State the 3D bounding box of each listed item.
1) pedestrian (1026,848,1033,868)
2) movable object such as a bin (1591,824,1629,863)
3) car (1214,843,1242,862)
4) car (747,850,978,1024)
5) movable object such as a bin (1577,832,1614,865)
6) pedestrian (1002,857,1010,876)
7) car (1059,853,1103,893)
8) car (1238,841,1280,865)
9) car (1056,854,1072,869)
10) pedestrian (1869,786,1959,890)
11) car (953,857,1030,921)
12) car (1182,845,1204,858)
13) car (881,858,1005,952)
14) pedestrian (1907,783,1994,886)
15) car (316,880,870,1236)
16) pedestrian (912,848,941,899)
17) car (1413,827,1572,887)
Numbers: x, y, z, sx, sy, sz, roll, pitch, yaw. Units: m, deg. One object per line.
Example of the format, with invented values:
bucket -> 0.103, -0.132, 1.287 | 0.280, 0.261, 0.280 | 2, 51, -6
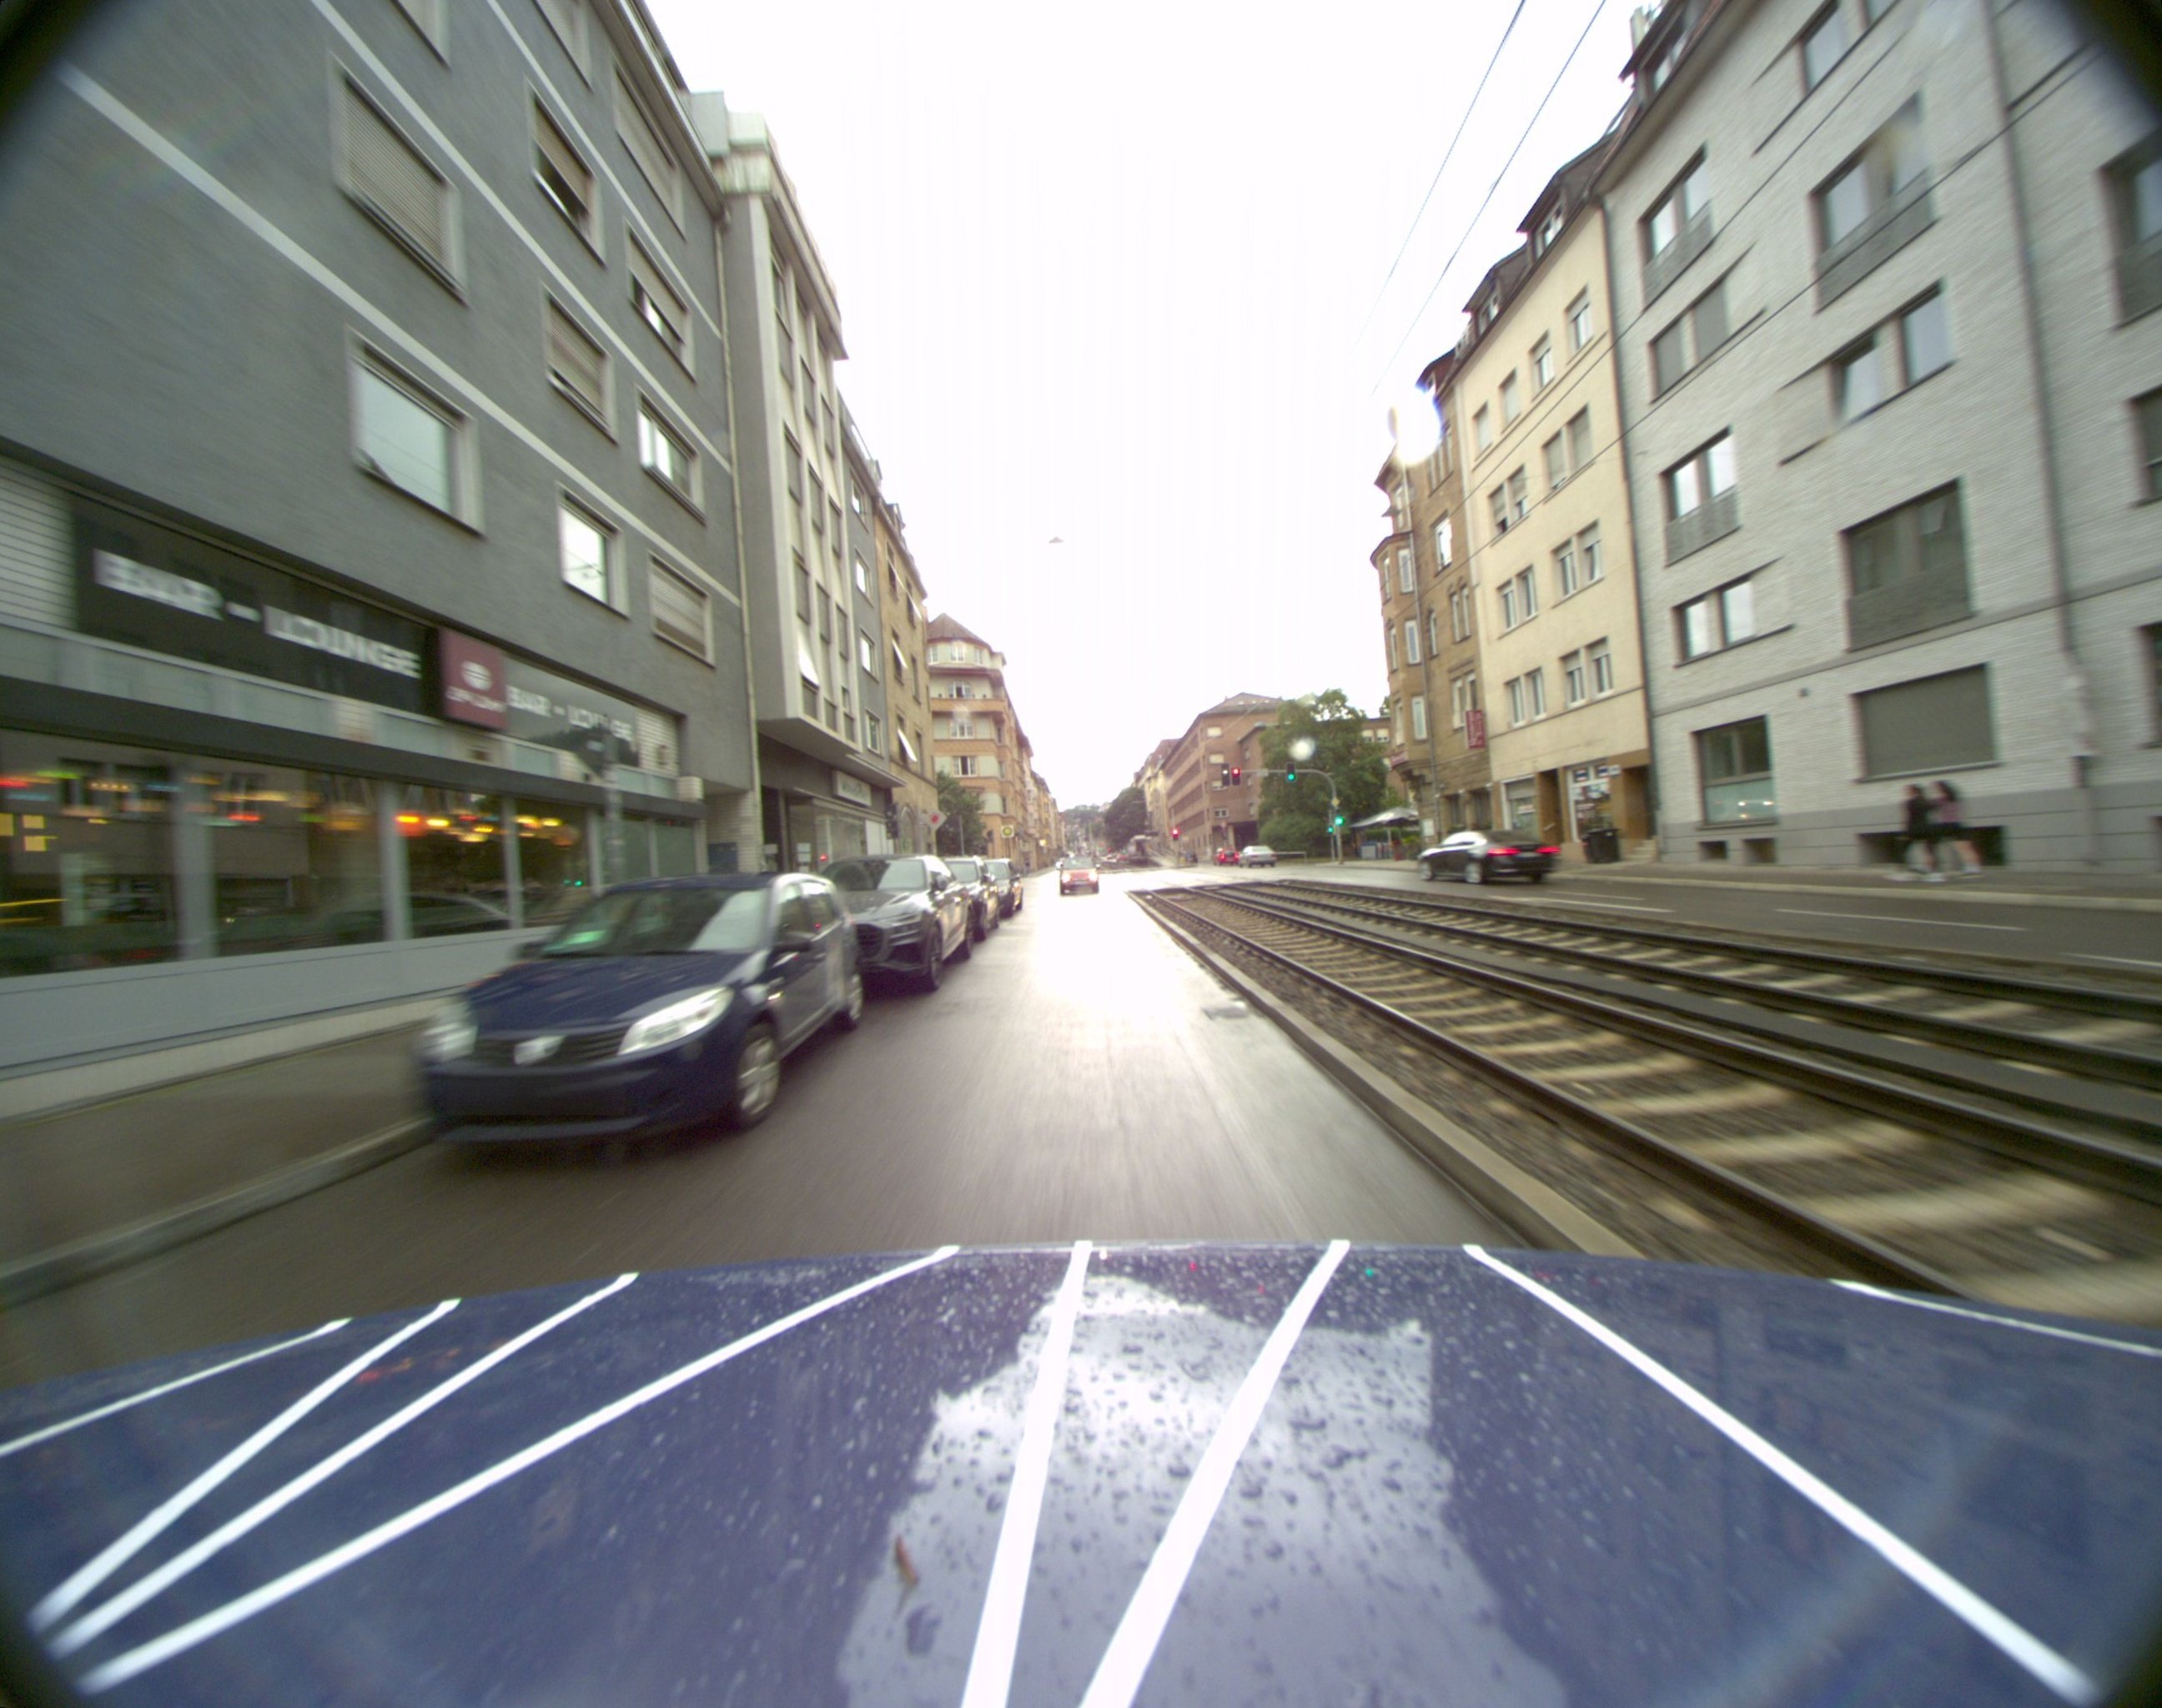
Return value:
pedestrian -> -4.451, 0.352, 65.685 | 0.437, 1.642, 0.579 | -3, 1, -1
movable object such as a bin -> 15.803, -0.315, 22.701 | 0.631, 1.074, 0.563 | -8, 1, 0
car -> 12.225, -0.113, 63.410 | 1.631, 1.442, 3.387 | -3, 0, 0
car -> -2.633, 0.875, 10.387 | 1.797, 1.750, 4.565 | -3, 0, -1
movable object such as a bin -> 15.862, -0.180, 23.437 | 0.631, 0.922, 0.563 | -8, 1, 0
pedestrian -> -6.123, 1.028, 62.031 | 0.579, 1.563, 0.438 | -3, 1, -1
car -> 0.007, 0.776, 32.559 | 1.683, 1.531, 4.018 | -3, 0, 0
car -> 12.034, -0.076, 51.669 | 1.717, 1.452, 4.643 | -3, 0, 1
car -> -2.398, 1.011, 107.774 | 2.135, 2.002, 4.328 | -3, 0, 0
pedestrian -> 14.569, -0.273, 13.304 | 0.603, 1.708, 0.746 | -6, 1, 3
car -> -2.504, 0.927, 22.269 | 1.715, 1.604, 4.518 | -2, 0, 0
car -> 12.389, -0.280, 84.343 | 1.781, 1.328, 3.945 | -3, 0, 0
car -> -2.759, 0.943, 16.114 | 1.822, 1.645, 4.250 | -2, 0, 0
pedestrian -> 15.200, -0.334, 13.301 | 0.603, 1.708, 0.658 | -6, 1, 3
car -> -2.832, 1.021, 5.566 | 1.696, 1.474, 3.928 | -2, 0, -4
pedestrian -> -5.674, 0.709, 27.926 | 0.852, 1.807, 0.847 | -2, 1, 0
car -> 11.688, 0.061, 22.047 | 2.093, 1.449, 4.860 | -2, 0, 2
